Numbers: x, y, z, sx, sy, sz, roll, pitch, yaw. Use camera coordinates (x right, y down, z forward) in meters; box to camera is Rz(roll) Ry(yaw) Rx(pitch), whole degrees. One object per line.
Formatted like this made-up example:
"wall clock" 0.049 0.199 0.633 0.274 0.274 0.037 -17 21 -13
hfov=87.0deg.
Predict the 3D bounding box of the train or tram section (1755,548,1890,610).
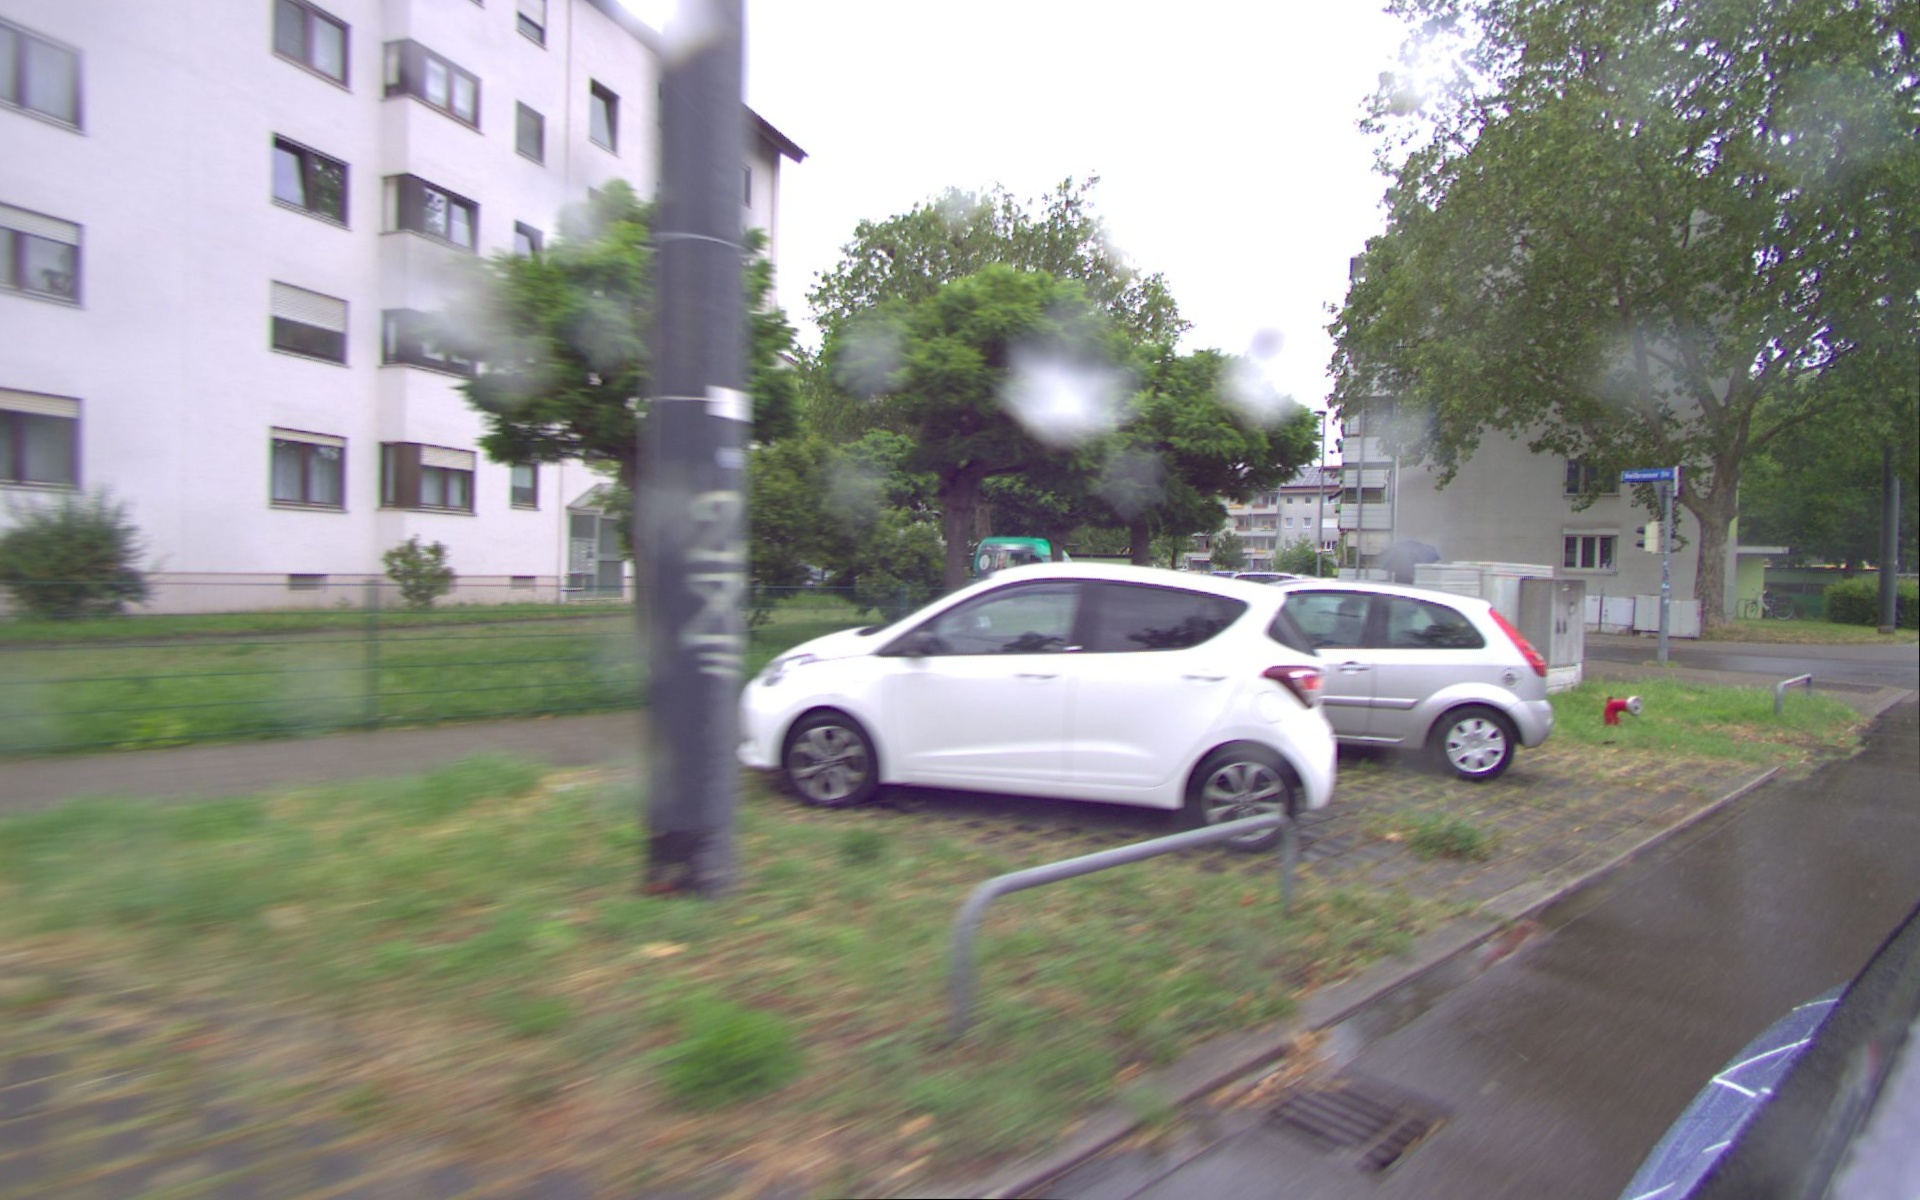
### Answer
"train or tram section" 51.254 -1.306 60.379 2.708 3.380 6.396 2 2 4

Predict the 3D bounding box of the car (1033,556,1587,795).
"car" 2.734 0.486 8.584 3.942 1.526 1.778 3 4 15

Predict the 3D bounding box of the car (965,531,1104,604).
"car" 2.962 -1.396 41.849 2.147 2.813 6.137 0 2 -38

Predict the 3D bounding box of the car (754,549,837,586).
"car" -7.429 -1.489 45.525 1.656 1.524 4.302 0 3 -41

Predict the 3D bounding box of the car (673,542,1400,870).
"car" 0.413 0.472 6.342 3.937 1.526 1.701 2 4 11

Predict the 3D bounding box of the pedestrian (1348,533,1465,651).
"pedestrian" 7.324 -0.141 16.623 1.405 1.836 1.104 1 2 -30

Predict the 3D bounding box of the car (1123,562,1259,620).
"car" 7.349 -0.337 32.475 1.745 1.670 3.995 0 3 -41

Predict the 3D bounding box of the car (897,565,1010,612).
"car" -0.288 -0.466 37.227 1.902 1.524 4.306 0 3 -38

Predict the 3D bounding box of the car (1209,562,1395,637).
"car" 8.862 -0.080 26.538 1.837 1.701 4.306 0 3 -38

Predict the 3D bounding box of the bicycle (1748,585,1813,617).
"bicycle" 31.947 0.020 39.410 1.842 1.156 0.529 2 1 25
